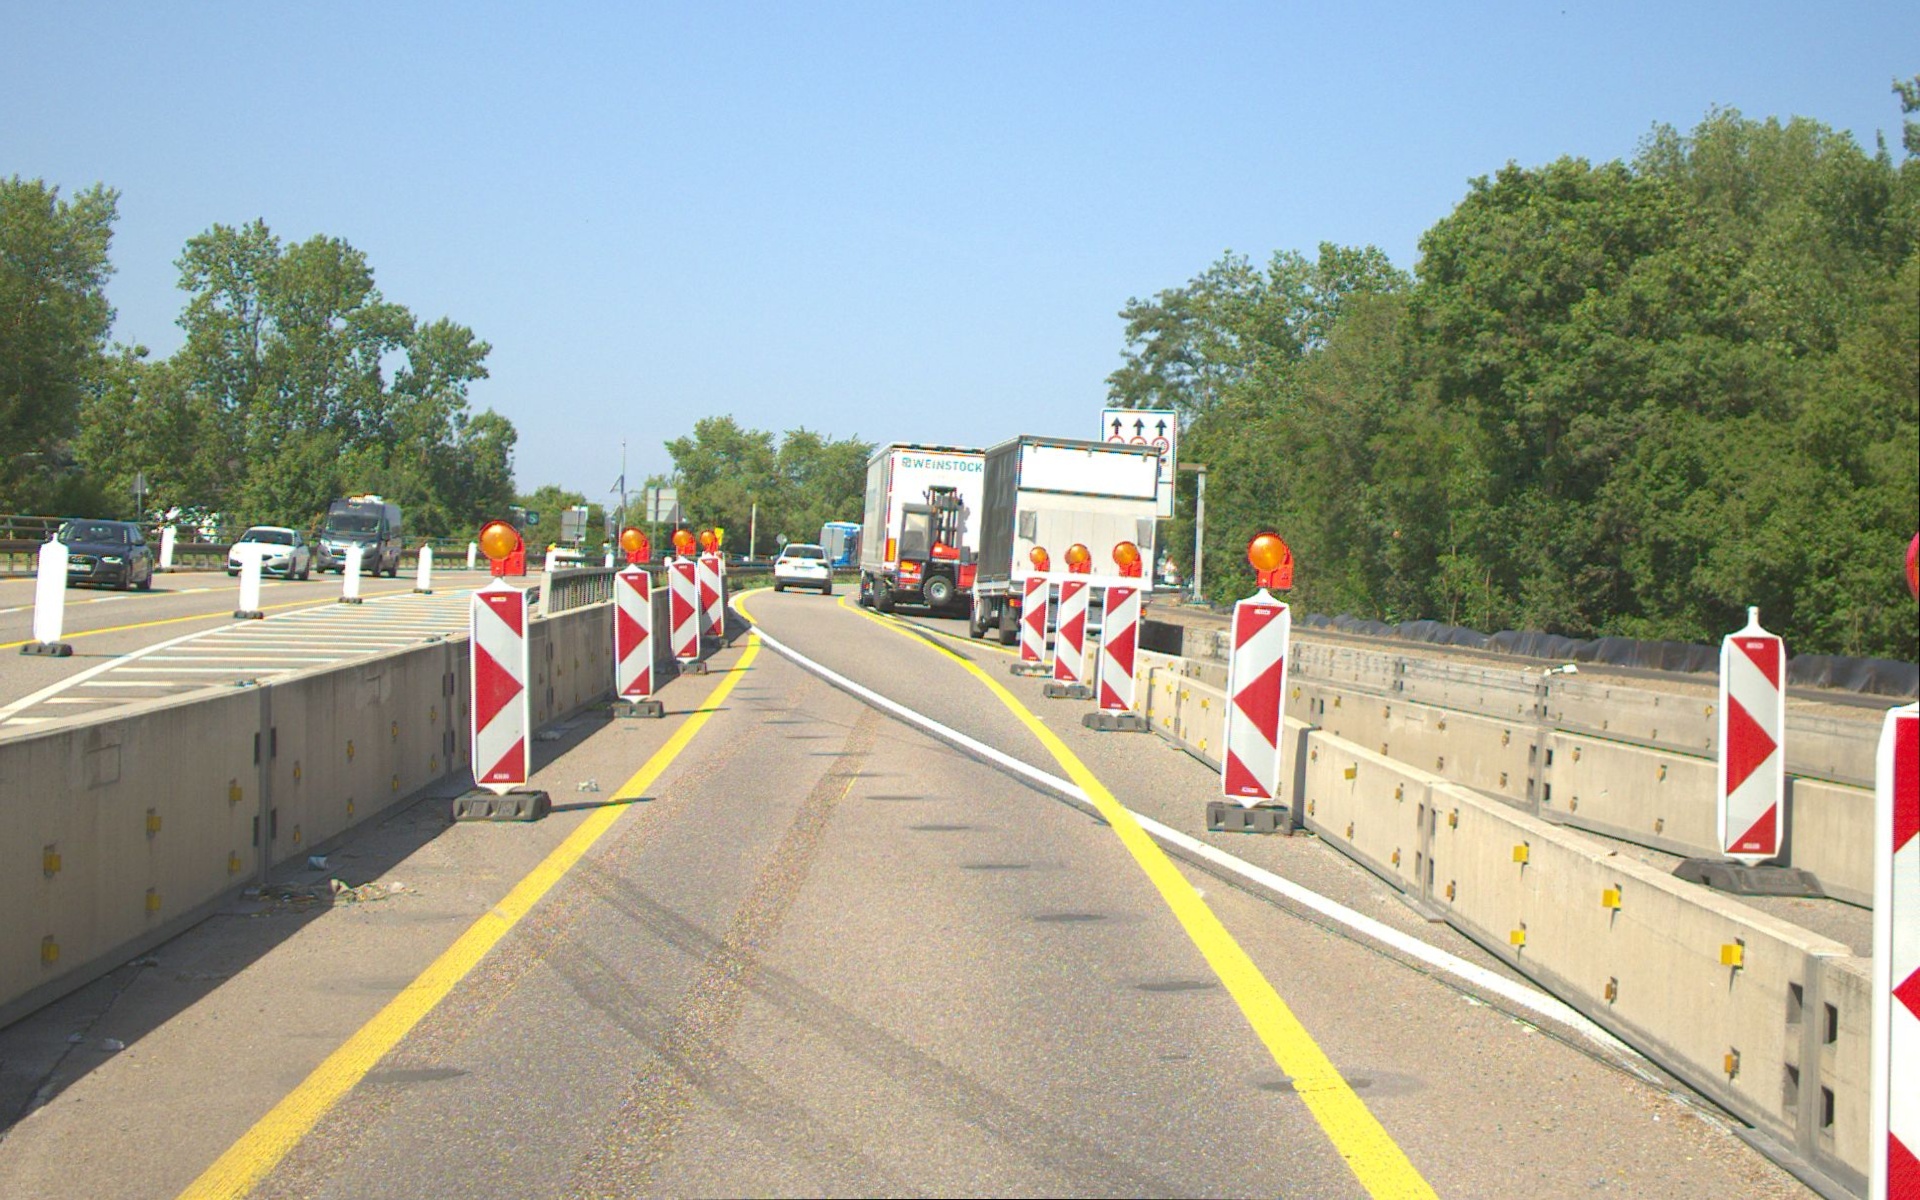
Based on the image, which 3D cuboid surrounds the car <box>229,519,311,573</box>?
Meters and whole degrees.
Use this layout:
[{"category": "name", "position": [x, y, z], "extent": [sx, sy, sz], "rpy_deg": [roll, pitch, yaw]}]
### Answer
[{"category": "car", "position": [-19.424, -1.541, 96.915], "extent": [1.718, 1.392, 4.521], "rpy_deg": [3, 1, -5]}]

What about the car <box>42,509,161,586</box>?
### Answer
[{"category": "car", "position": [-17.675, -1.102, 70.944], "extent": [1.737, 1.471, 4.647], "rpy_deg": [2, 1, -6]}]

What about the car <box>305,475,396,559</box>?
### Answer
[{"category": "car", "position": [-20.235, -2.738, 114.410], "extent": [2.146, 2.651, 5.547], "rpy_deg": [2, 1, -2]}]

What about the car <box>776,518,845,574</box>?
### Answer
[{"category": "car", "position": [-4.941, -1.779, 113.183], "extent": [1.816, 1.770, 4.001], "rpy_deg": [1, 1, -9]}]

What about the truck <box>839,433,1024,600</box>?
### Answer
[{"category": "truck", "position": [-0.776, -2.001, 82.592], "extent": [3.387, 3.761, 7.235], "rpy_deg": [1, 1, -9]}]

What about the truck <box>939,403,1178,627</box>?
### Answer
[{"category": "truck", "position": [1.545, -1.450, 58.006], "extent": [2.633, 3.415, 7.235], "rpy_deg": [3, 1, -9]}]
